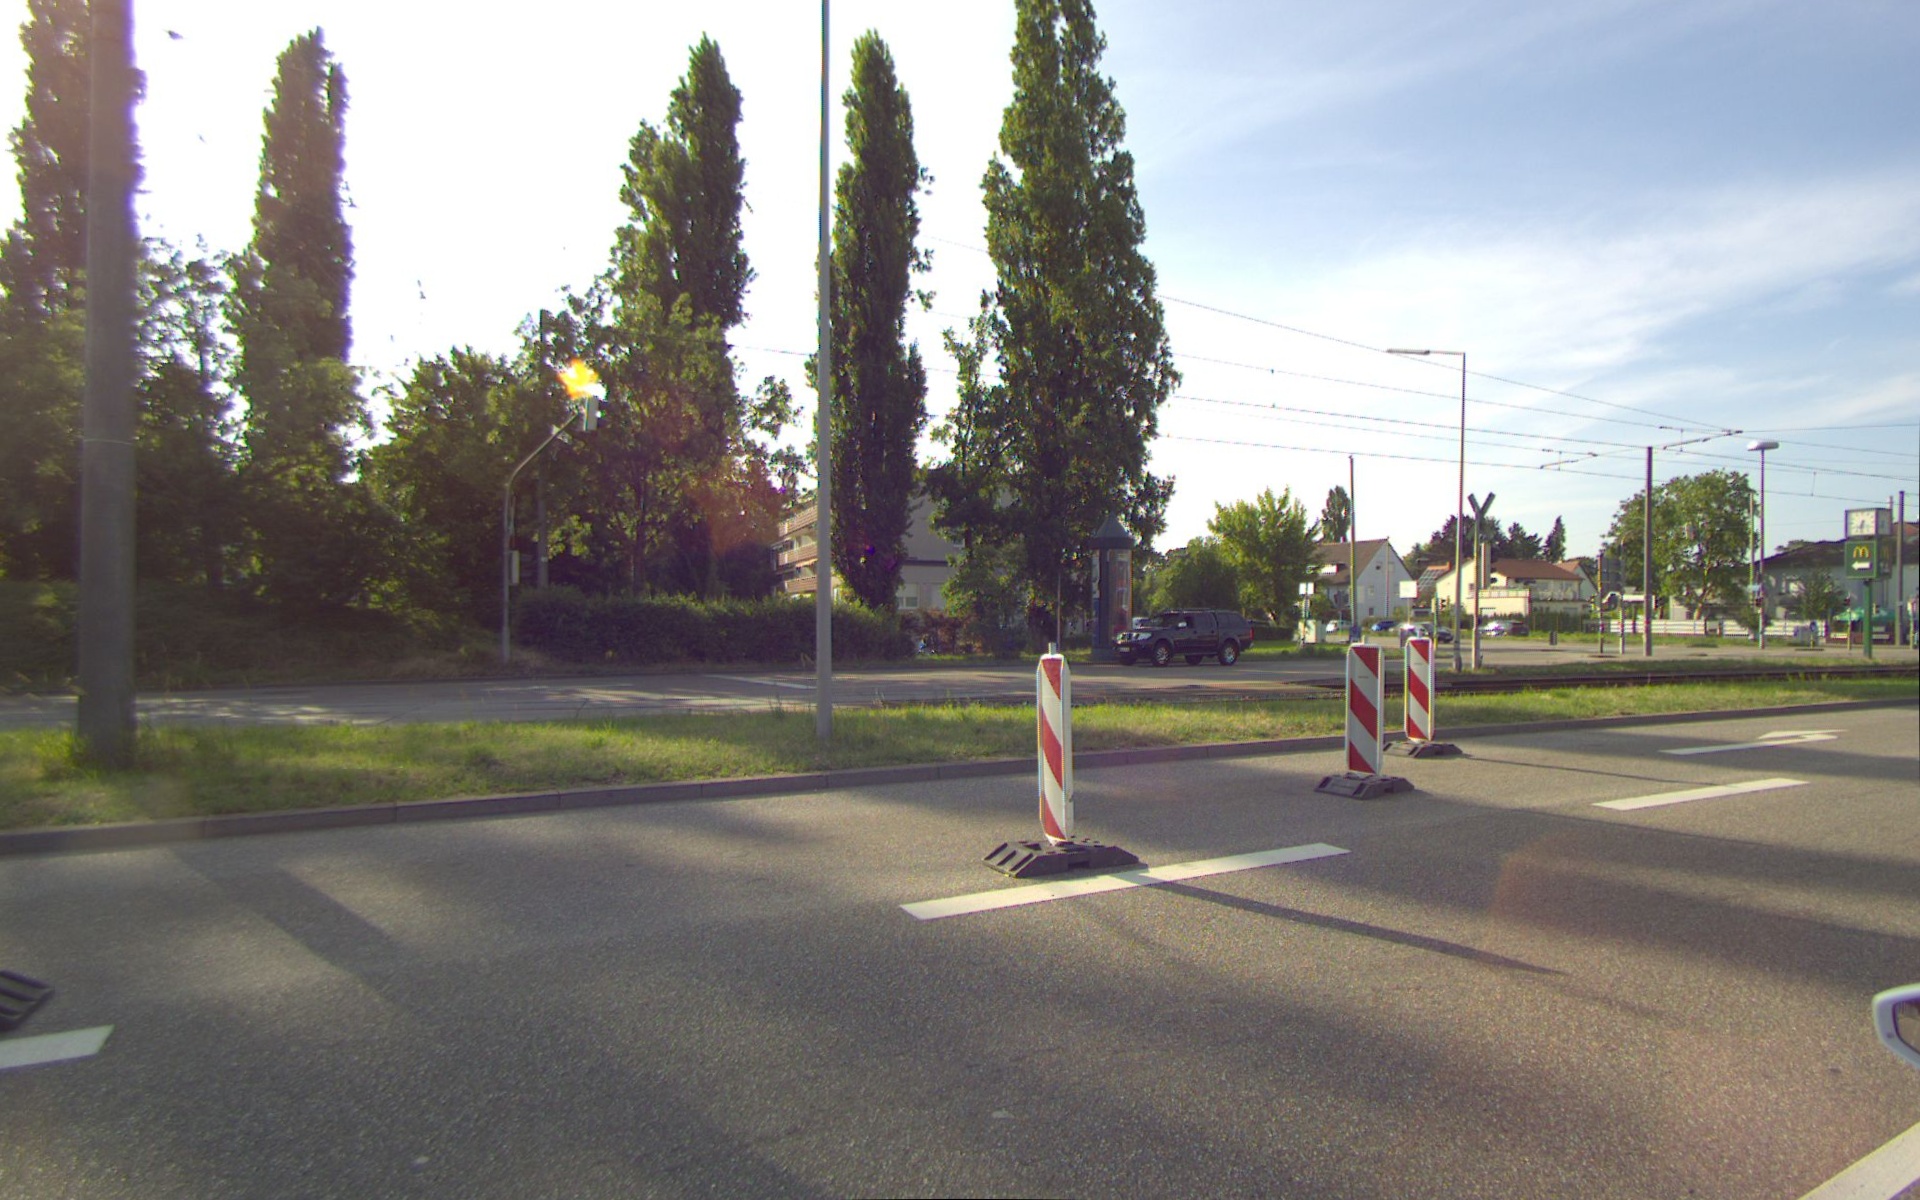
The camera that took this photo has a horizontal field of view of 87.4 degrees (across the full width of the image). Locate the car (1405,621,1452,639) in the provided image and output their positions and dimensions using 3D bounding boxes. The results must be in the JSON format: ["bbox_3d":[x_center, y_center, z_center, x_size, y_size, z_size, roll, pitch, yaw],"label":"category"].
[{"bbox_3d":[47.955,3.056,102.754,4.155,1.706,1.991,2,0,-19],"label":"car"}]

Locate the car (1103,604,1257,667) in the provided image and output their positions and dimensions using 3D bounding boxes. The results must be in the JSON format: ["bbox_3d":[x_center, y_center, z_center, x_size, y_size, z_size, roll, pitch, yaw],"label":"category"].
[{"bbox_3d":[7.612,1.197,34.535,5.296,2.040,1.984,1,-1,-31],"label":"car"}]

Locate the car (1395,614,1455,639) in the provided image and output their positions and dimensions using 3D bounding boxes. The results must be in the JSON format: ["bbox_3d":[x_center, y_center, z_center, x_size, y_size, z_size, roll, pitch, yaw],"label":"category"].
[{"bbox_3d":[34.044,1.912,73.609,1.498,1.816,3.977,1,-1,-24],"label":"car"}]

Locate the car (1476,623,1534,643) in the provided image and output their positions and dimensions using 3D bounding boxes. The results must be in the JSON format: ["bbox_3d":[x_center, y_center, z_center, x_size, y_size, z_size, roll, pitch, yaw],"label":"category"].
[{"bbox_3d":[44.584,2.682,82.213,1.968,1.506,3.986,0,-1,-17],"label":"car"}]
